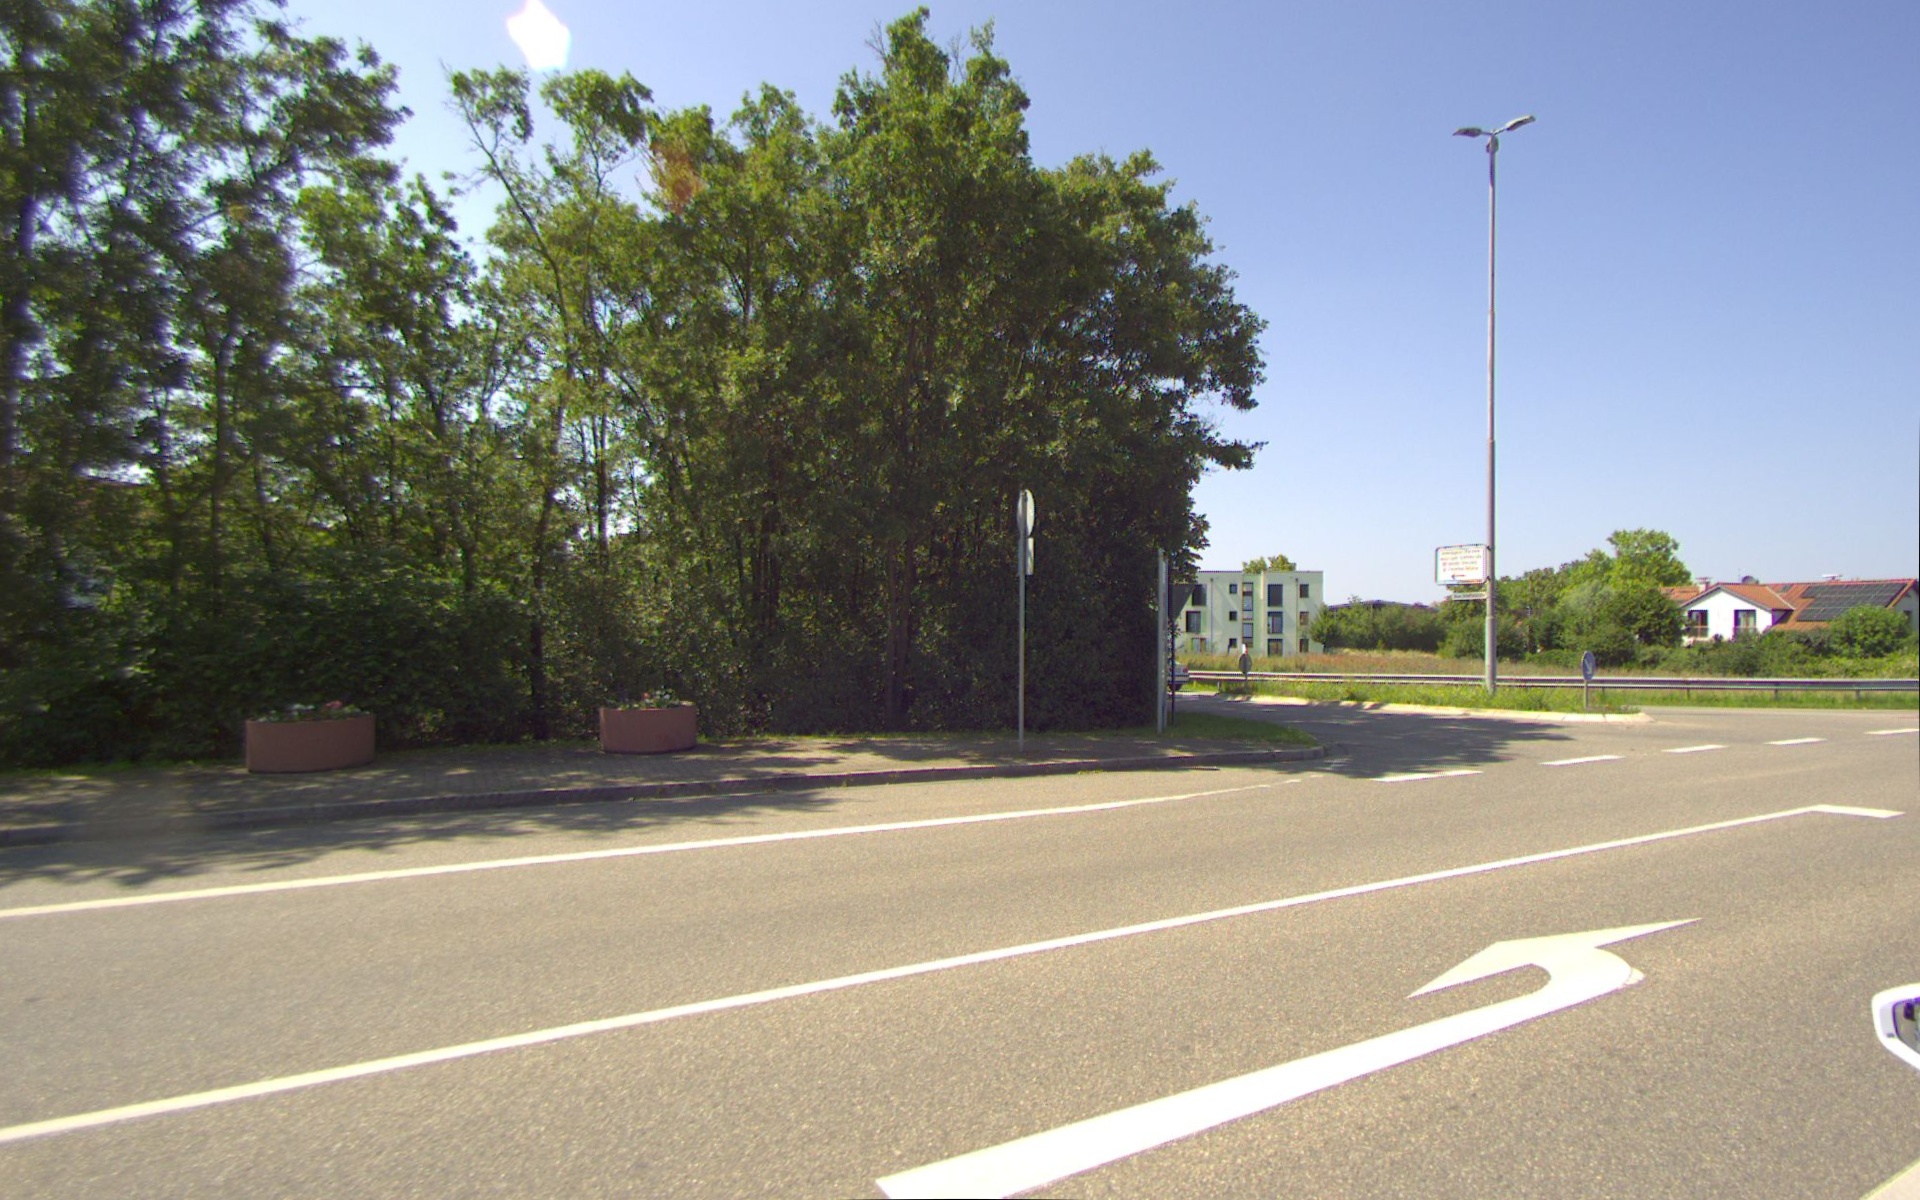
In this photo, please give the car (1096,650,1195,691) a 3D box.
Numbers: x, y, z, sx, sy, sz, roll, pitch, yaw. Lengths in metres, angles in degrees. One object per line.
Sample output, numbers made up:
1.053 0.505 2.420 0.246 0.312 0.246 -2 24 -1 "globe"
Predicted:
7.318 2.768 40.066 1.620 1.490 4.388 1 -2 -26 "car"
